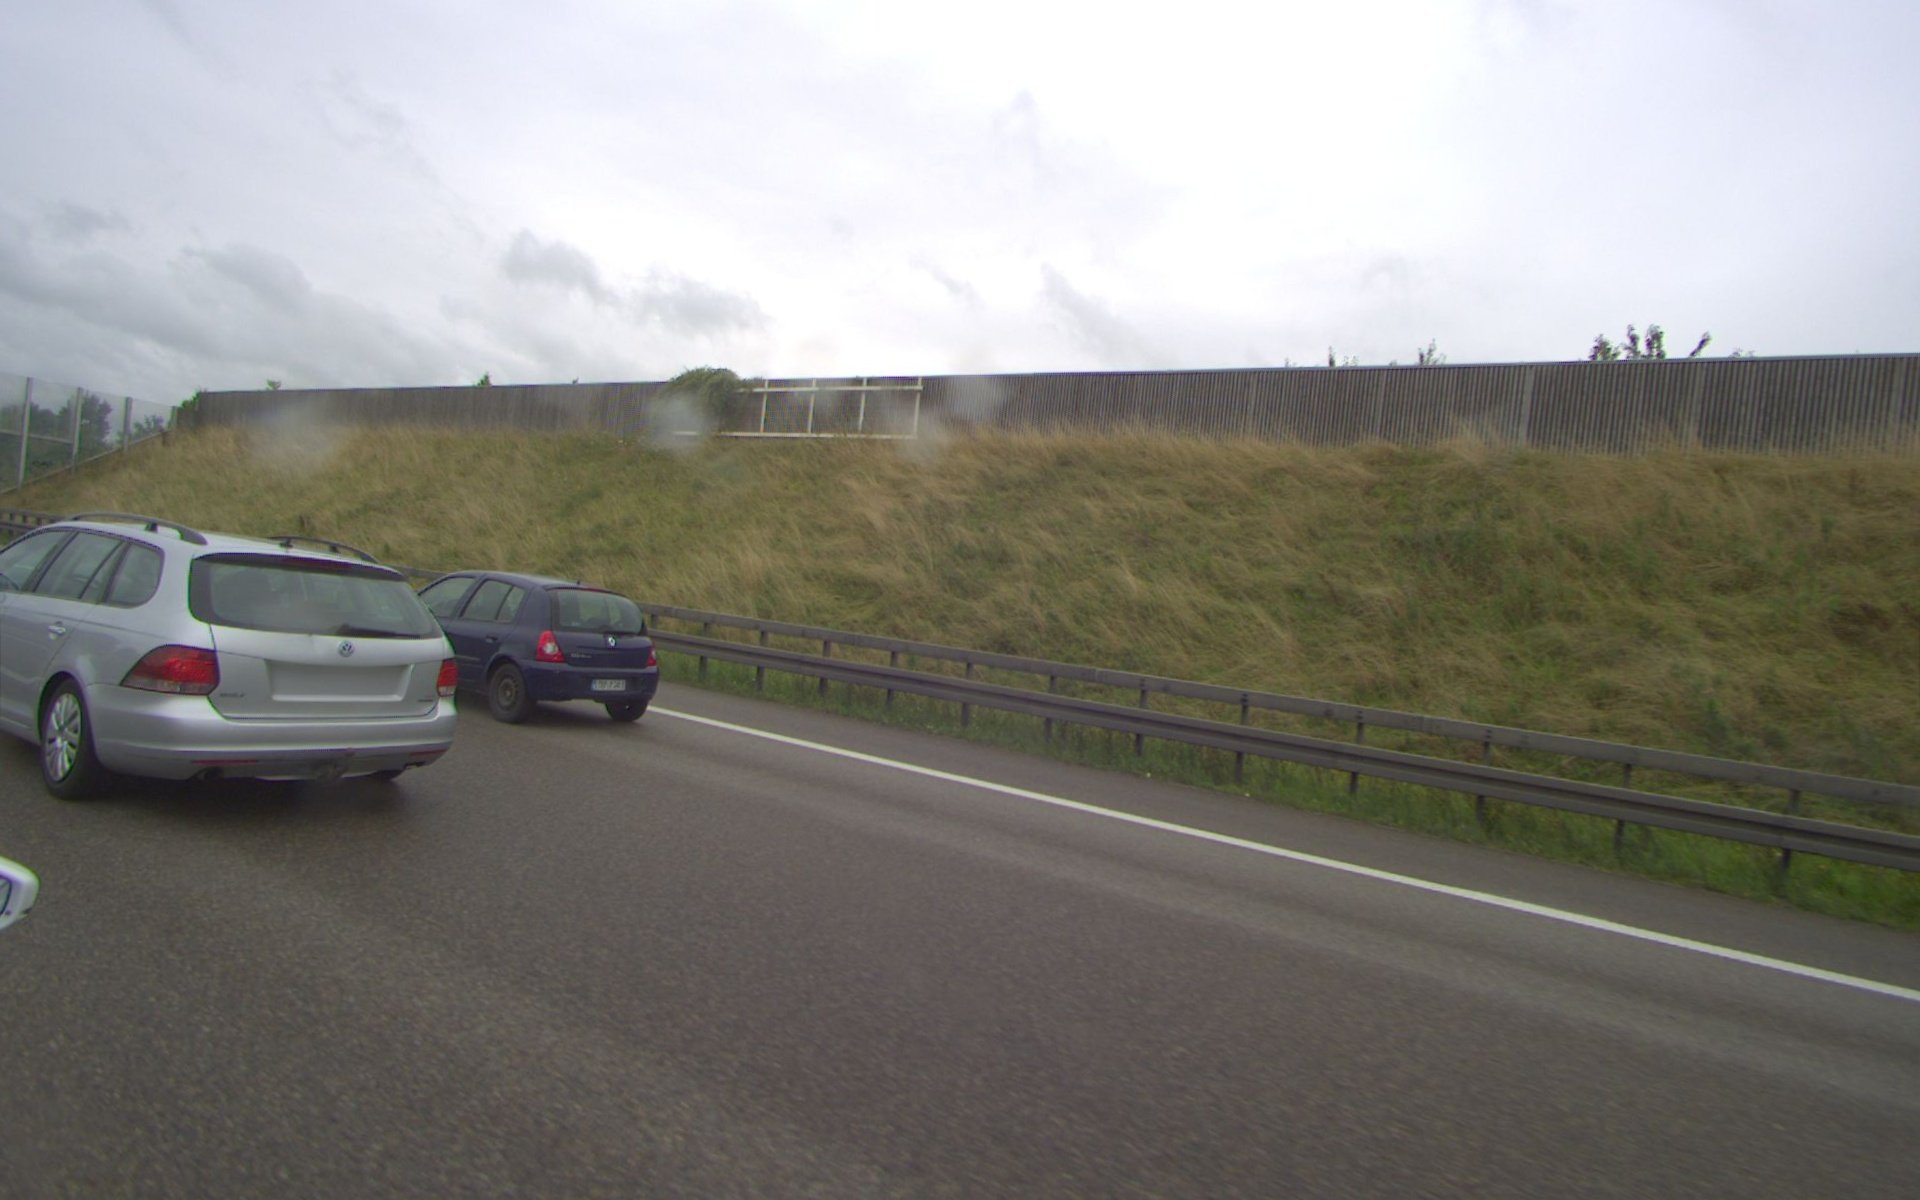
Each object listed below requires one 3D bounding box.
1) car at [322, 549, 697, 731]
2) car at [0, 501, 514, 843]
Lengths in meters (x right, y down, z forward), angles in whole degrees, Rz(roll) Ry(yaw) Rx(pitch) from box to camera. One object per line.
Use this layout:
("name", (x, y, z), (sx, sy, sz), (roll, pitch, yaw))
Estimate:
("car", (-4.897, 0.401, 10.835), (3.811, 1.417, 1.706), (6, -2, 31))
("car", (-5.064, 0.227, 6.422), (4.441, 1.442, 1.744), (7, 0, 31))
